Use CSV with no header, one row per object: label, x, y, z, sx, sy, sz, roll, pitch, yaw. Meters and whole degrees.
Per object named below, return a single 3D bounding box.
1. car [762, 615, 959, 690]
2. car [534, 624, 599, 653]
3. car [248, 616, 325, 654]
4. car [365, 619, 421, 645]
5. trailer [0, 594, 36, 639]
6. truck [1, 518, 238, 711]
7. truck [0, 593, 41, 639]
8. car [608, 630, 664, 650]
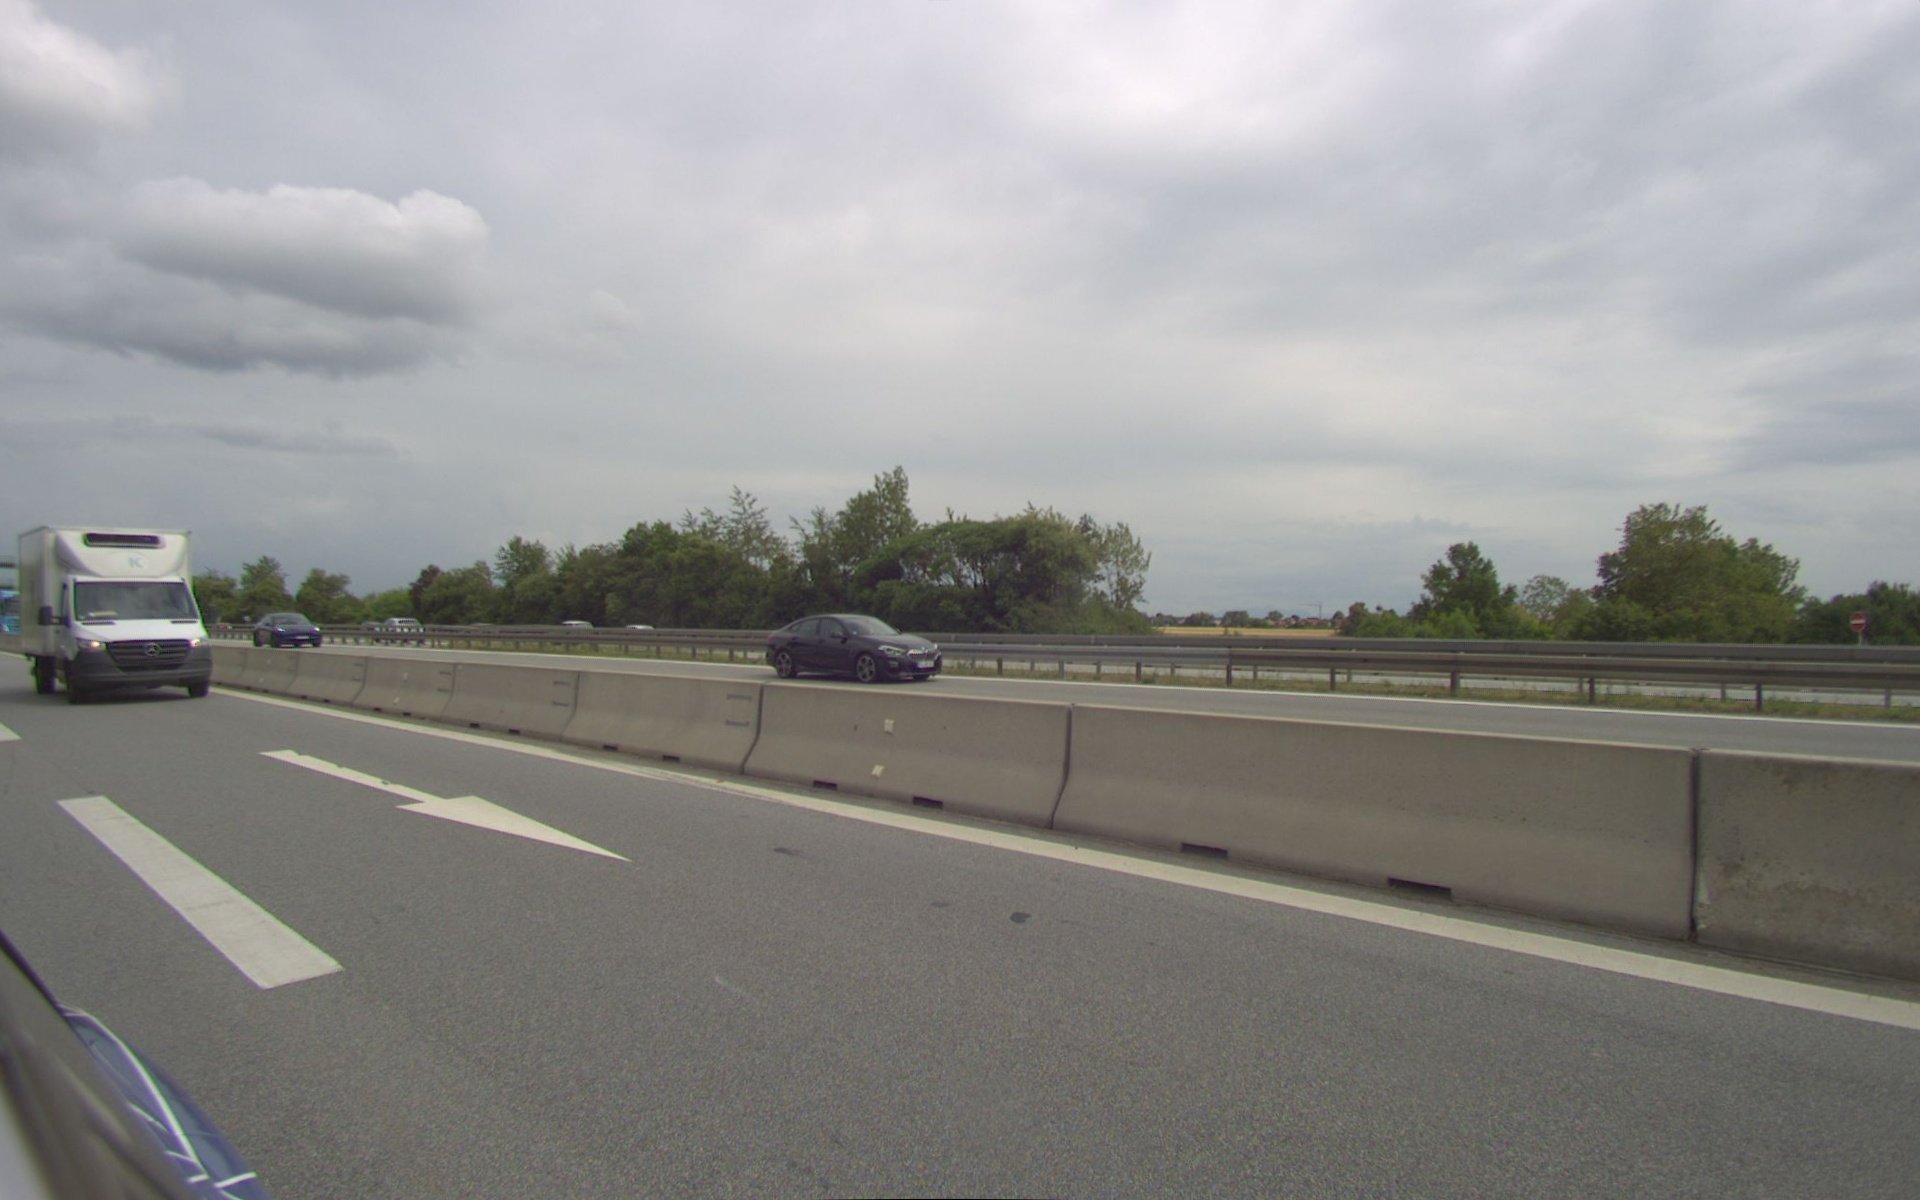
car,-2.241,1.070,22.002,4.382,1.461,1.754,-1,-1,41
car,-21.839,2.115,56.097,4.001,1.480,1.670,-1,-1,40
car,-31.712,1.609,47.620,4.382,1.674,1.972,-1,-1,42
car,-34.607,1.947,61.757,4.001,1.480,1.670,-1,-1,40
trailer,-88.251,1.505,93.518,12.379,3.954,3.201,-1,0,43
truck,-16.150,0.290,19.300,6.364,3.113,2.380,-1,-1,40
truck,-84.088,1.459,89.729,6.608,3.941,3.212,-1,-1,42
car,-21.229,2.601,66.229,4.001,1.201,1.670,-1,-1,40
